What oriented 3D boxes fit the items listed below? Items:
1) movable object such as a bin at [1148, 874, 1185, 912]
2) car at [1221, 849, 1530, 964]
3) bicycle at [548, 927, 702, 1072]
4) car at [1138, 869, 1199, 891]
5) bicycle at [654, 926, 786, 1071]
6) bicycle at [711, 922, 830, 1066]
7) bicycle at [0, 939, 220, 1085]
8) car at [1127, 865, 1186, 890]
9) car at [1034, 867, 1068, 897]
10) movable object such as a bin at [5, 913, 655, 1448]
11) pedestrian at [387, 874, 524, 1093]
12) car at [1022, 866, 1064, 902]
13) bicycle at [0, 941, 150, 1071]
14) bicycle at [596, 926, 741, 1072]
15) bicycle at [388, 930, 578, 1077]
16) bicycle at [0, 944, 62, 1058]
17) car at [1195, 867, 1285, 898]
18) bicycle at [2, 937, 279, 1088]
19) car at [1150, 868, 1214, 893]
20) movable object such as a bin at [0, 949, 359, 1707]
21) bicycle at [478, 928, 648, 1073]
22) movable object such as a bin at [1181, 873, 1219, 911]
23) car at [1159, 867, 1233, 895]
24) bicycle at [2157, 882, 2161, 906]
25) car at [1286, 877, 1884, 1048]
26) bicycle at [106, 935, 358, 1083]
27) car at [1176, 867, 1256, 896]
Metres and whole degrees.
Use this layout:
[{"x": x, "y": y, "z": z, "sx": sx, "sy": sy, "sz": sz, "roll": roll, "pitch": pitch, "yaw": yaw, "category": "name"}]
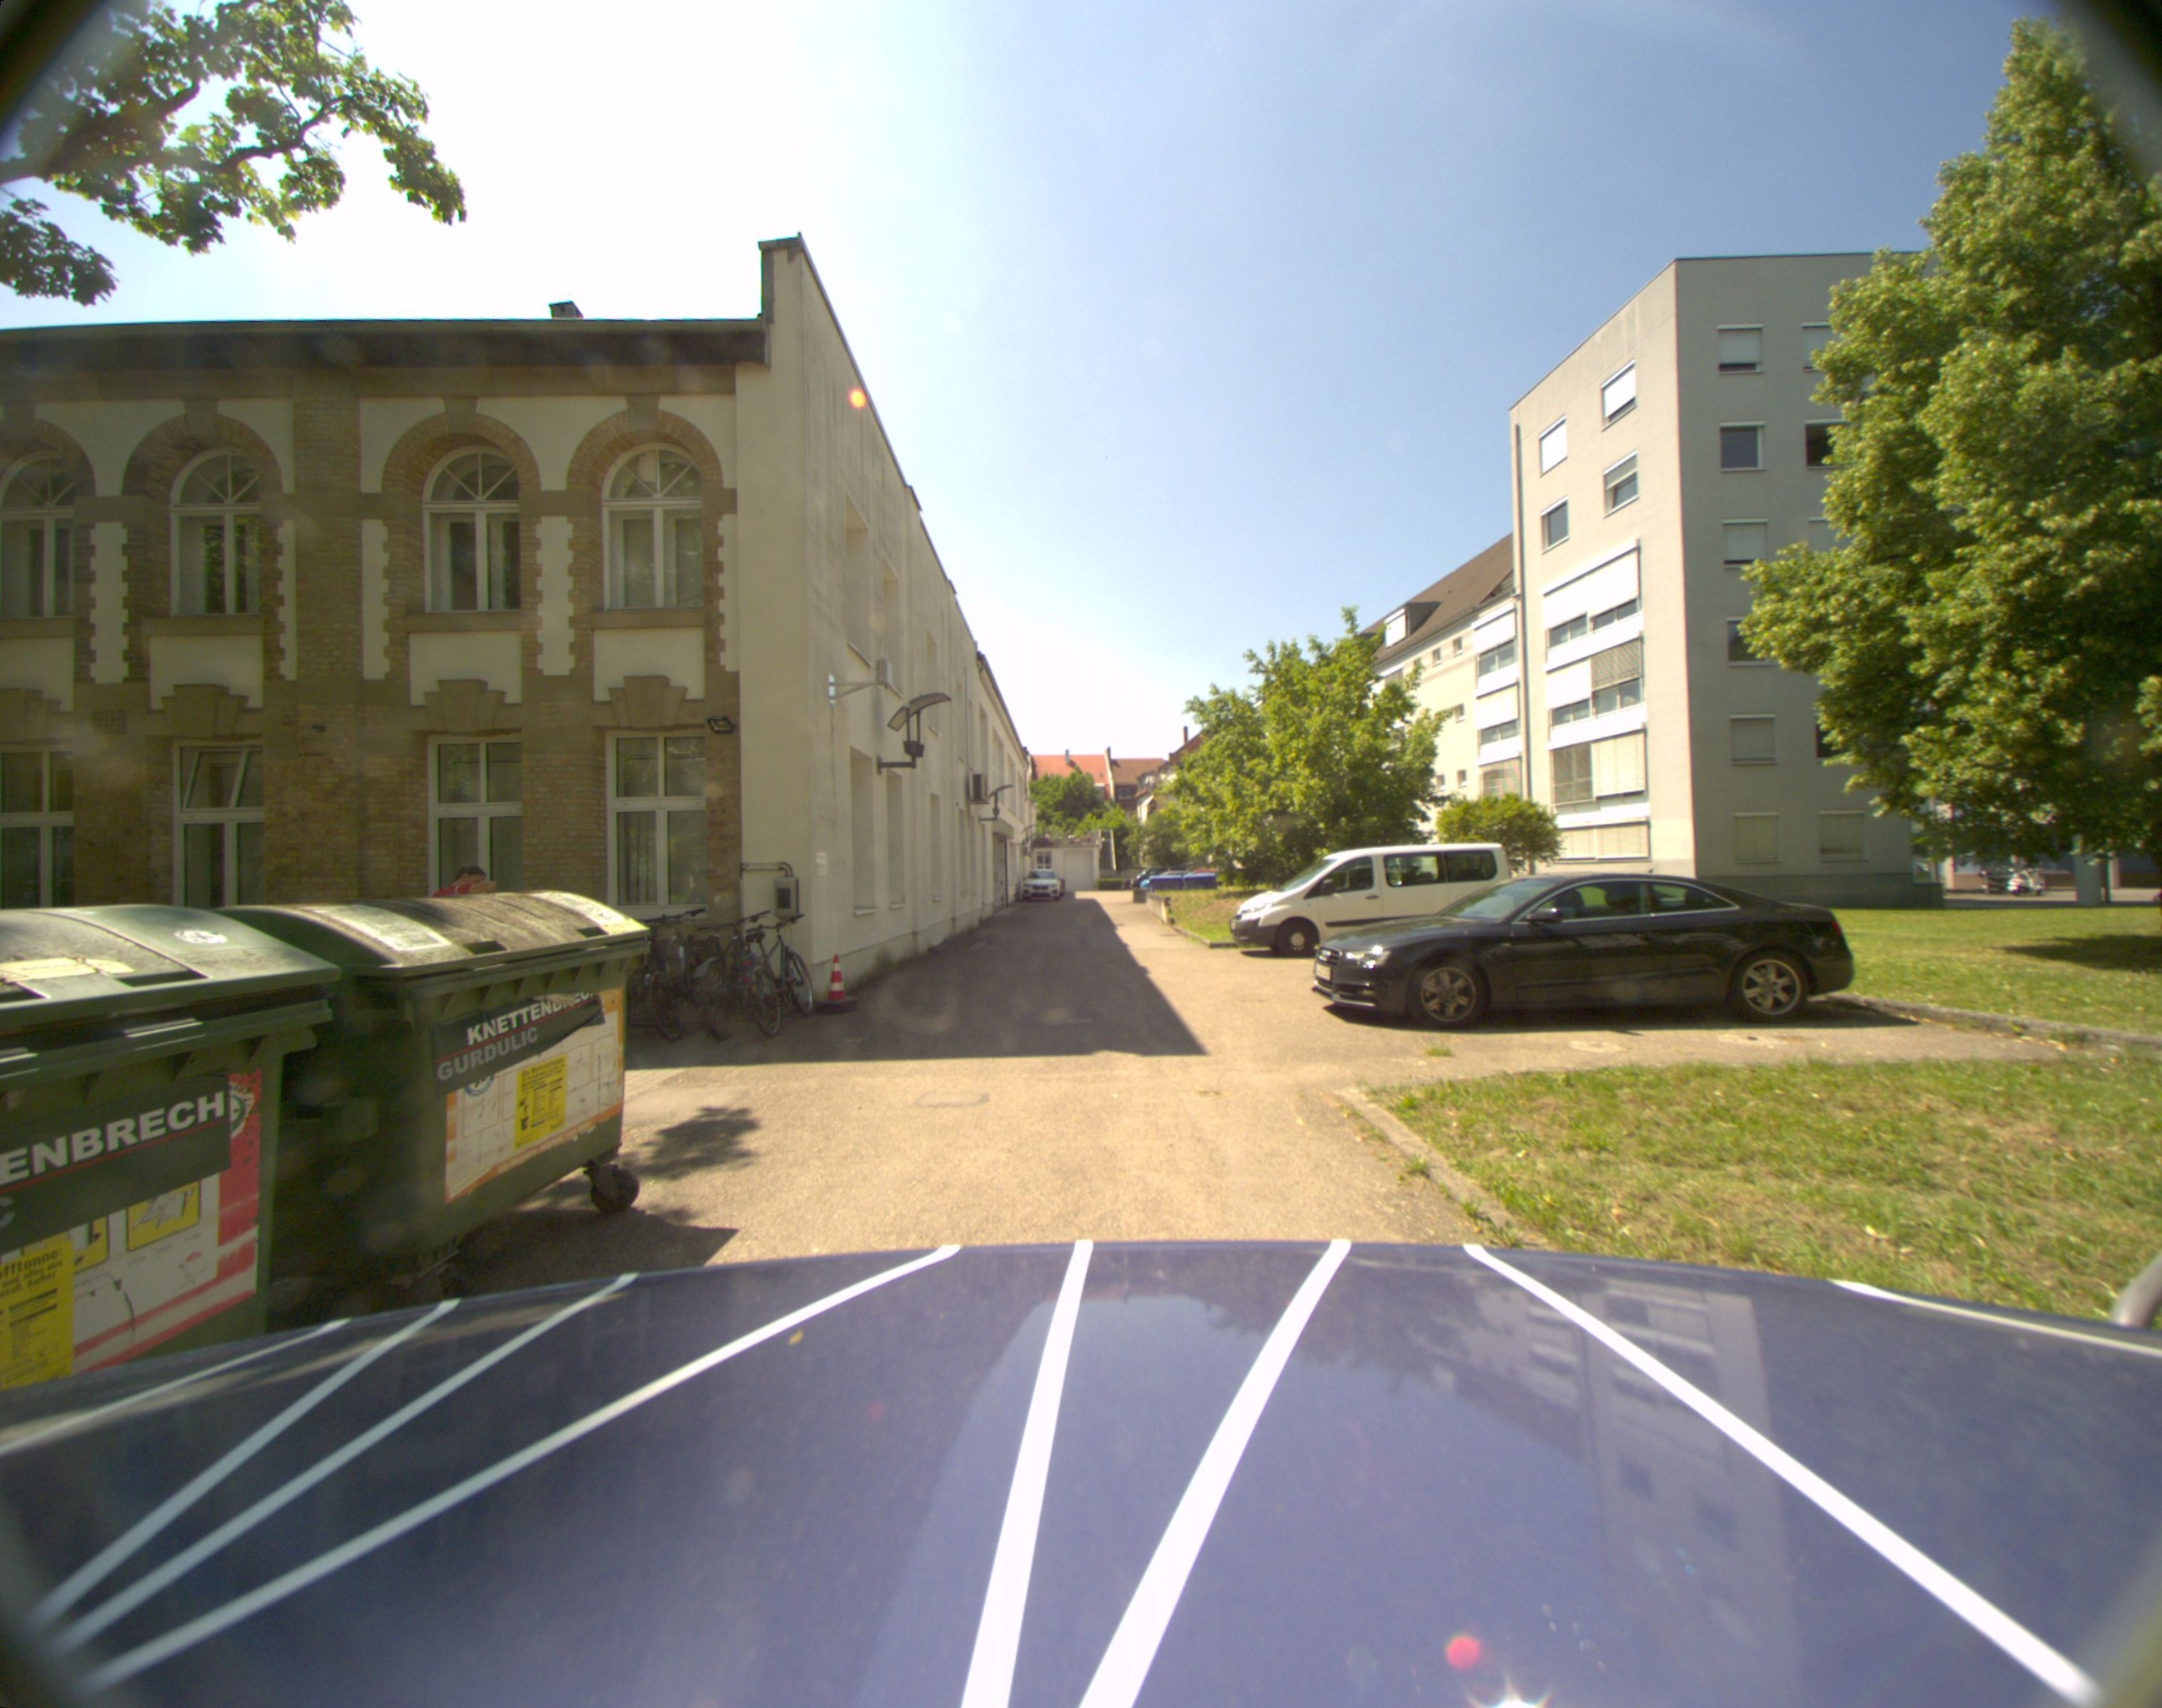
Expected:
[{"x": 3.298, "y": 1.488, "z": 29.410, "sx": 1.271, "sy": 1.380, "sz": 1.095, "roll": -1, "pitch": 0, "yaw": 0, "category": "movable object such as a bin"}, {"x": 5.173, "y": 0.908, "z": 13.956, "sx": 4.859, "sy": 1.872, "sz": 2.068, "roll": -1, "pitch": 0, "yaw": 2, "category": "car"}, {"x": -4.431, "y": 1.356, "z": 7.537, "sx": 0.406, "sy": 1.095, "sz": 1.826, "roll": -1, "pitch": 0, "yaw": 0, "category": "bicycle"}, {"x": 6.530, "y": 1.922, "z": 56.817, "sx": 4.223, "sy": 1.559, "sz": 1.612, "roll": -1, "pitch": 0, "yaw": -5, "category": "car"}, {"x": -3.474, "y": 1.334, "z": 7.480, "sx": 0.406, "sy": 1.095, "sz": 1.826, "roll": -1, "pitch": 0, "yaw": 0, "category": "bicycle"}, {"x": -3.005, "y": 1.301, "z": 7.532, "sx": 0.406, "sy": 1.095, "sz": 1.826, "roll": -1, "pitch": 0, "yaw": 0, "category": "bicycle"}, {"x": -9.588, "y": 1.470, "z": 7.356, "sx": 0.406, "sy": 1.095, "sz": 1.826, "roll": -1, "pitch": 0, "yaw": 0, "category": "bicycle"}, {"x": 5.905, "y": 1.835, "z": 59.753, "sx": 4.223, "sy": 1.812, "sz": 2.009, "roll": -1, "pitch": 0, "yaw": -5, "category": "car"}, {"x": -1.947, "y": 1.822, "z": 50.475, "sx": 2.011, "sy": 1.792, "sz": 4.727, "roll": -1, "pitch": 0, "yaw": 0, "category": "car"}, {"x": -2.580, "y": 1.011, "z": 2.905, "sx": 1.078, "sy": 1.449, "sz": 1.377, "roll": -1, "pitch": 0, "yaw": 1, "category": "movable object such as a bin"}, {"x": -5.292, "y": 1.055, "z": 6.466, "sx": 0.552, "sy": 1.738, "sz": 0.689, "roll": -1, "pitch": 0, "yaw": 1, "category": "pedestrian"}, {"x": -2.024, "y": 1.593, "z": 41.672, "sx": 2.011, "sy": 1.792, "sz": 4.727, "roll": -1, "pitch": 0, "yaw": 0, "category": "car"}, {"x": -10.301, "y": 1.486, "z": 7.314, "sx": 0.406, "sy": 1.095, "sz": 1.826, "roll": -1, "pitch": 0, "yaw": 0, "category": "bicycle"}, {"x": -3.991, "y": 1.346, "z": 7.513, "sx": 0.406, "sy": 1.095, "sz": 1.826, "roll": -1, "pitch": 0, "yaw": 0, "category": "bicycle"}, {"x": -5.784, "y": 1.386, "z": 7.499, "sx": 0.406, "sy": 1.095, "sz": 1.826, "roll": -1, "pitch": 0, "yaw": 0, "category": "bicycle"}, {"x": -11.065, "y": 1.502, "z": 7.174, "sx": 0.406, "sy": 1.095, "sz": 1.826, "roll": -1, "pitch": 0, "yaw": 0, "category": "bicycle"}, {"x": 8.562, "y": 1.528, "z": 41.136, "sx": 4.445, "sy": 1.559, "sz": 1.612, "roll": -1, "pitch": 0, "yaw": -5, "category": "car"}, {"x": -9.014, "y": 1.458, "z": 7.417, "sx": 0.406, "sy": 1.095, "sz": 1.826, "roll": -1, "pitch": 0, "yaw": 0, "category": "bicycle"}, {"x": 7.144, "y": 1.861, "z": 53.760, "sx": 4.223, "sy": 1.559, "sz": 1.612, "roll": -1, "pitch": 0, "yaw": -5, "category": "car"}, {"x": -2.607, "y": 0.999, "z": 1.462, "sx": 1.078, "sy": 1.449, "sz": 1.377, "roll": -1, "pitch": 0, "yaw": 1, "category": "movable object such as a bin"}, {"x": -5.042, "y": 1.370, "z": 7.545, "sx": 0.406, "sy": 1.095, "sz": 1.826, "roll": -1, "pitch": 0, "yaw": 0, "category": "bicycle"}, {"x": 4.597, "y": 1.460, "z": 29.436, "sx": 1.271, "sy": 1.380, "sz": 1.095, "roll": -1, "pitch": 0, "yaw": 0, "category": "movable object such as a bin"}, {"x": 7.113, "y": 1.648, "z": 47.144, "sx": 4.223, "sy": 1.559, "sz": 1.612, "roll": -1, "pitch": 0, "yaw": -5, "category": "car"}, {"x": 29.681, "y": 1.022, "z": 19.989, "sx": 1.615, "sy": 0.637, "sz": 0.735, "roll": -1, "pitch": -3, "yaw": 1, "category": "bicycle"}, {"x": 4.504, "y": 0.975, "z": 7.453, "sx": 4.440, "sy": 1.371, "sz": 2.025, "roll": -1, "pitch": -3, "yaw": 2, "category": "car"}, {"x": -8.238, "y": 1.441, "z": 7.507, "sx": 0.406, "sy": 1.095, "sz": 1.826, "roll": -1, "pitch": 0, "yaw": 0, "category": "bicycle"}, {"x": 7.773, "y": 1.570, "z": 43.840, "sx": 4.223, "sy": 1.559, "sz": 1.612, "roll": -1, "pitch": 0, "yaw": -5, "category": "car"}]
